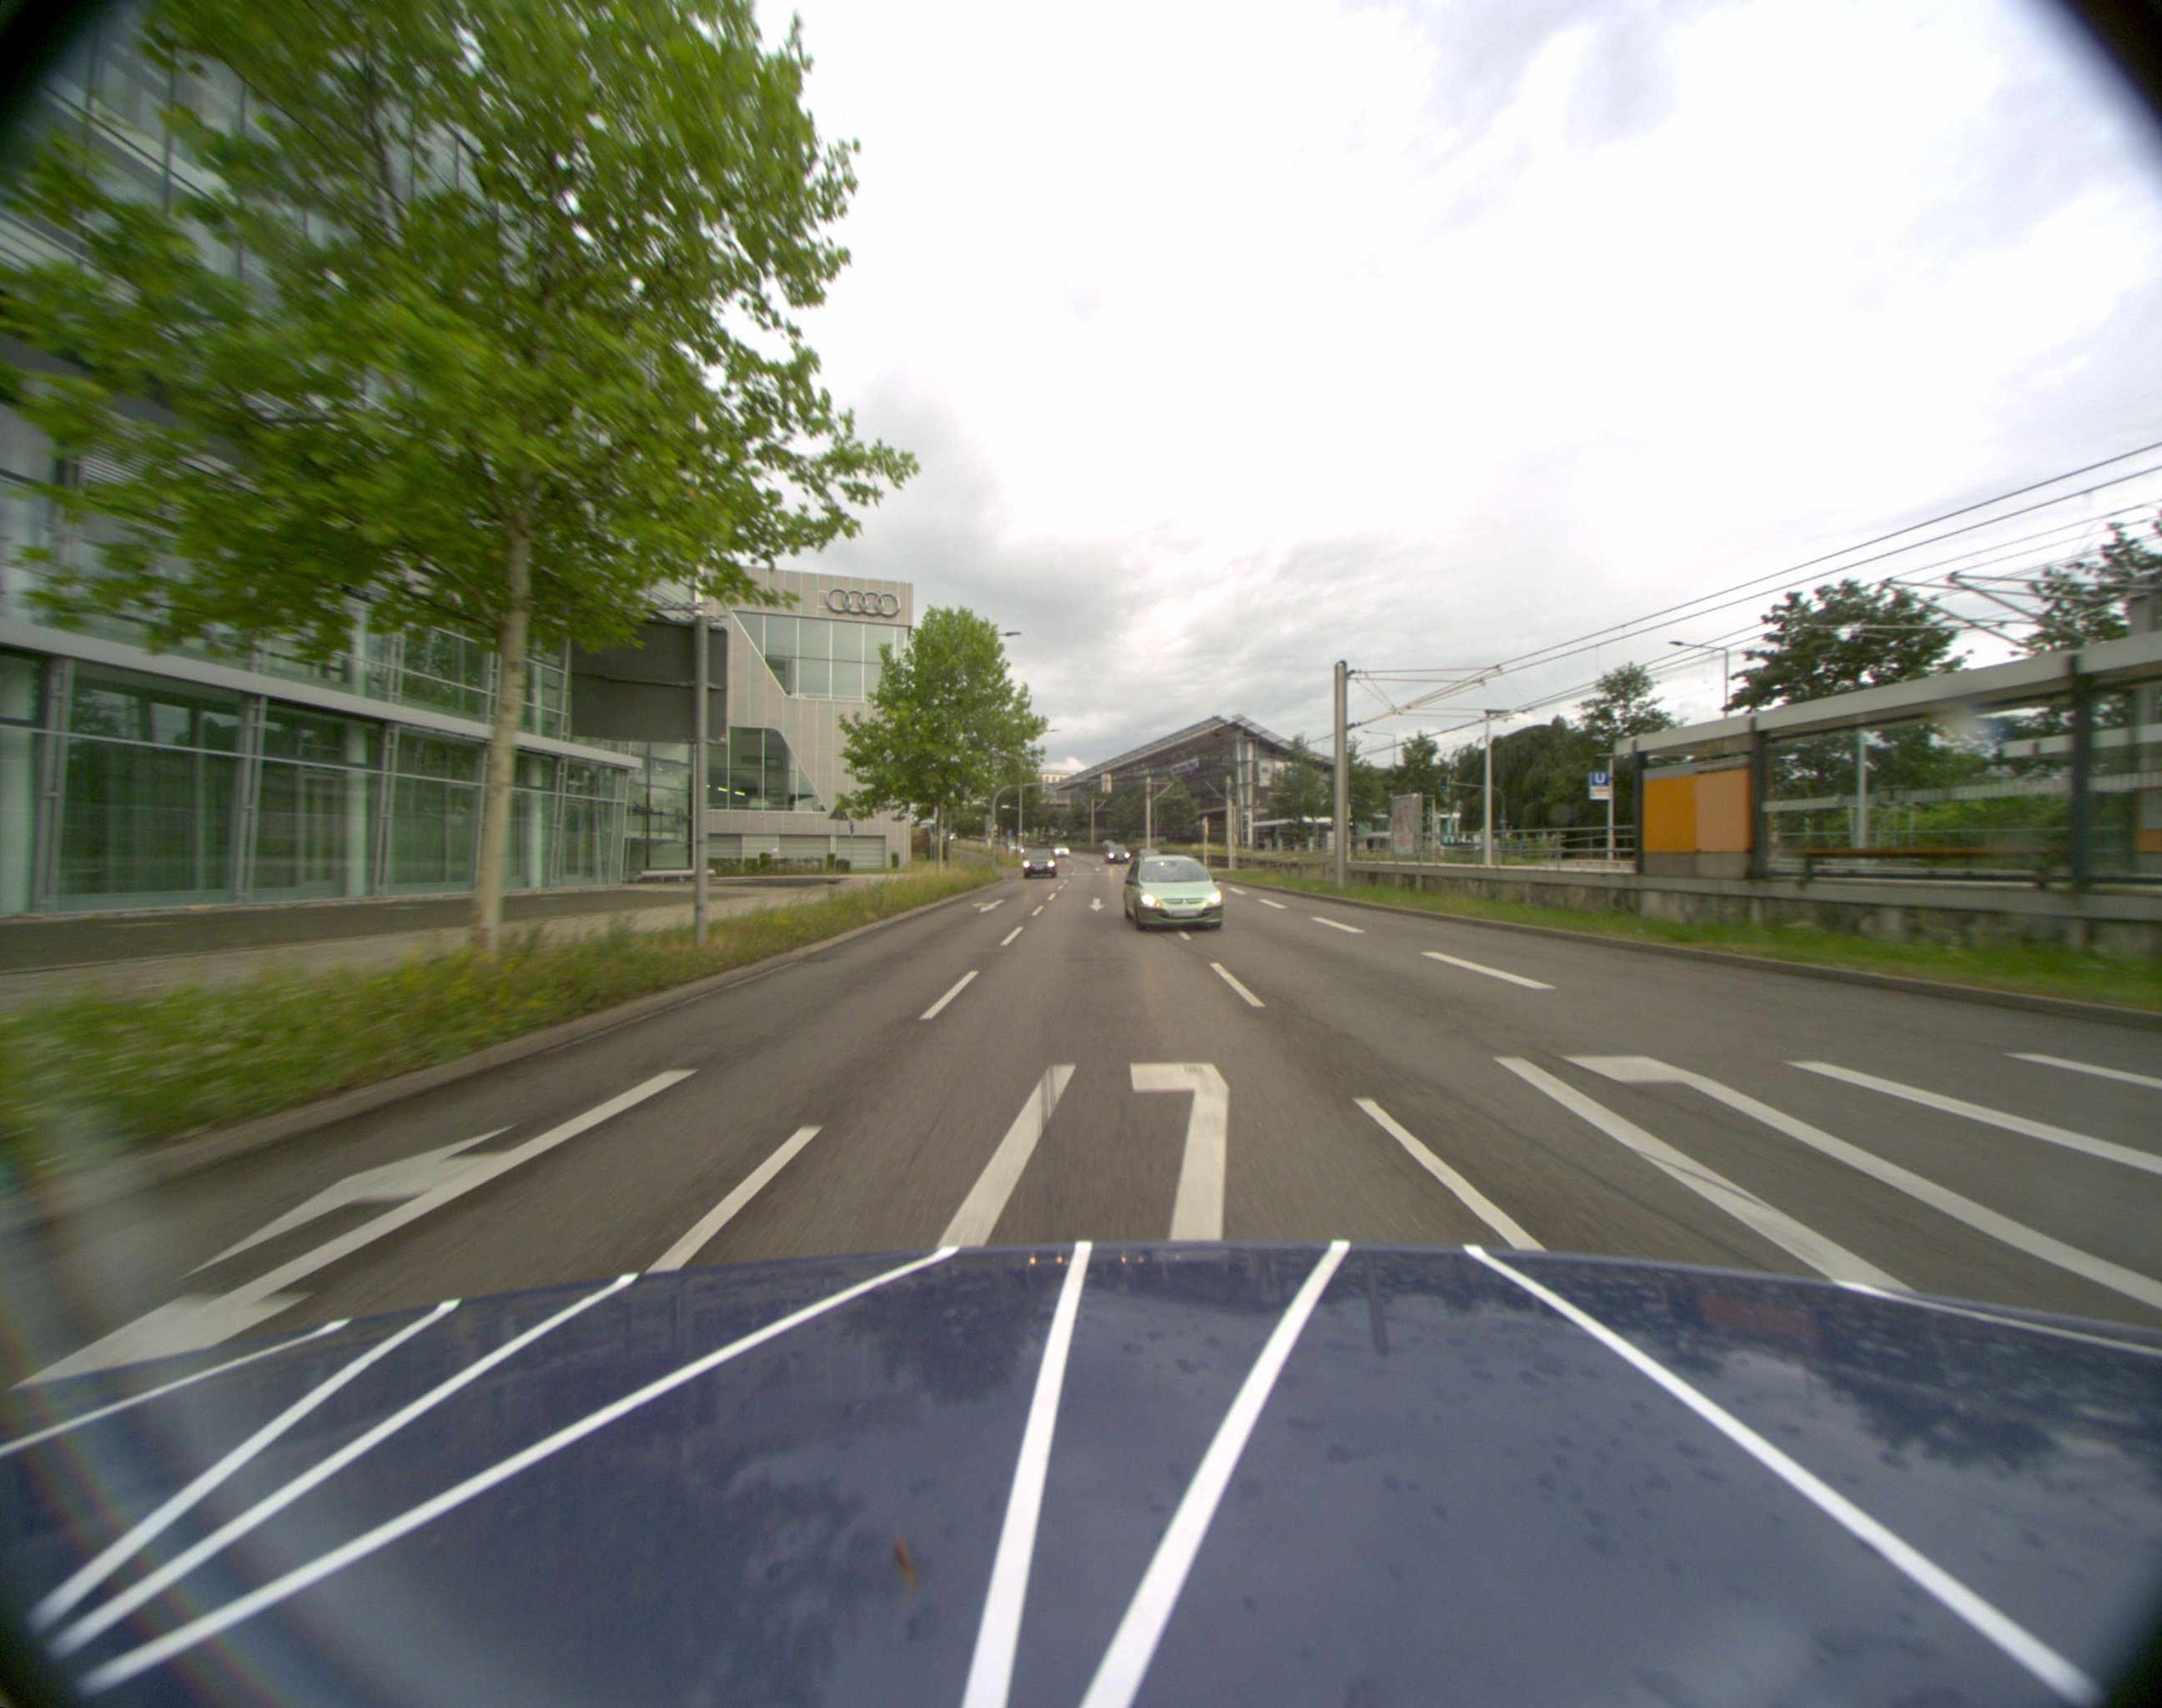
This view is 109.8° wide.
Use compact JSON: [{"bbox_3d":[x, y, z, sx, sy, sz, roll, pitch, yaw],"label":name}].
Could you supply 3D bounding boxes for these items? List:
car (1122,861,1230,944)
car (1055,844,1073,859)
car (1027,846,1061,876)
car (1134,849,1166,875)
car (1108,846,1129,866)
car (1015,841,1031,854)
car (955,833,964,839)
[{"bbox_3d":[1.915,0.936,16.562,1.699,1.460,4.402,-2,0,-1],"label":"car"},{"bbox_3d":[-2.041,-0.276,89.592,1.806,1.713,3.998,-2,0,-4],"label":"car"},{"bbox_3d":[-2.158,0.381,44.817,1.770,1.620,4.324,-2,0,-1],"label":"car"},{"bbox_3d":[4.276,0.486,47.425,1.697,1.514,3.904,-2,0,1],"label":"car"},{"bbox_3d":[3.330,0.157,66.941,1.730,1.583,4.194,-2,0,4],"label":"car"},{"bbox_3d":[-8.037,-0.939,105.612,1.999,1.669,3.820,-4,1,-4],"label":"car"},{"bbox_3d":[-32.965,-4.900,206.556,1.831,1.701,4.147,-2,0,-17],"label":"car"}]
